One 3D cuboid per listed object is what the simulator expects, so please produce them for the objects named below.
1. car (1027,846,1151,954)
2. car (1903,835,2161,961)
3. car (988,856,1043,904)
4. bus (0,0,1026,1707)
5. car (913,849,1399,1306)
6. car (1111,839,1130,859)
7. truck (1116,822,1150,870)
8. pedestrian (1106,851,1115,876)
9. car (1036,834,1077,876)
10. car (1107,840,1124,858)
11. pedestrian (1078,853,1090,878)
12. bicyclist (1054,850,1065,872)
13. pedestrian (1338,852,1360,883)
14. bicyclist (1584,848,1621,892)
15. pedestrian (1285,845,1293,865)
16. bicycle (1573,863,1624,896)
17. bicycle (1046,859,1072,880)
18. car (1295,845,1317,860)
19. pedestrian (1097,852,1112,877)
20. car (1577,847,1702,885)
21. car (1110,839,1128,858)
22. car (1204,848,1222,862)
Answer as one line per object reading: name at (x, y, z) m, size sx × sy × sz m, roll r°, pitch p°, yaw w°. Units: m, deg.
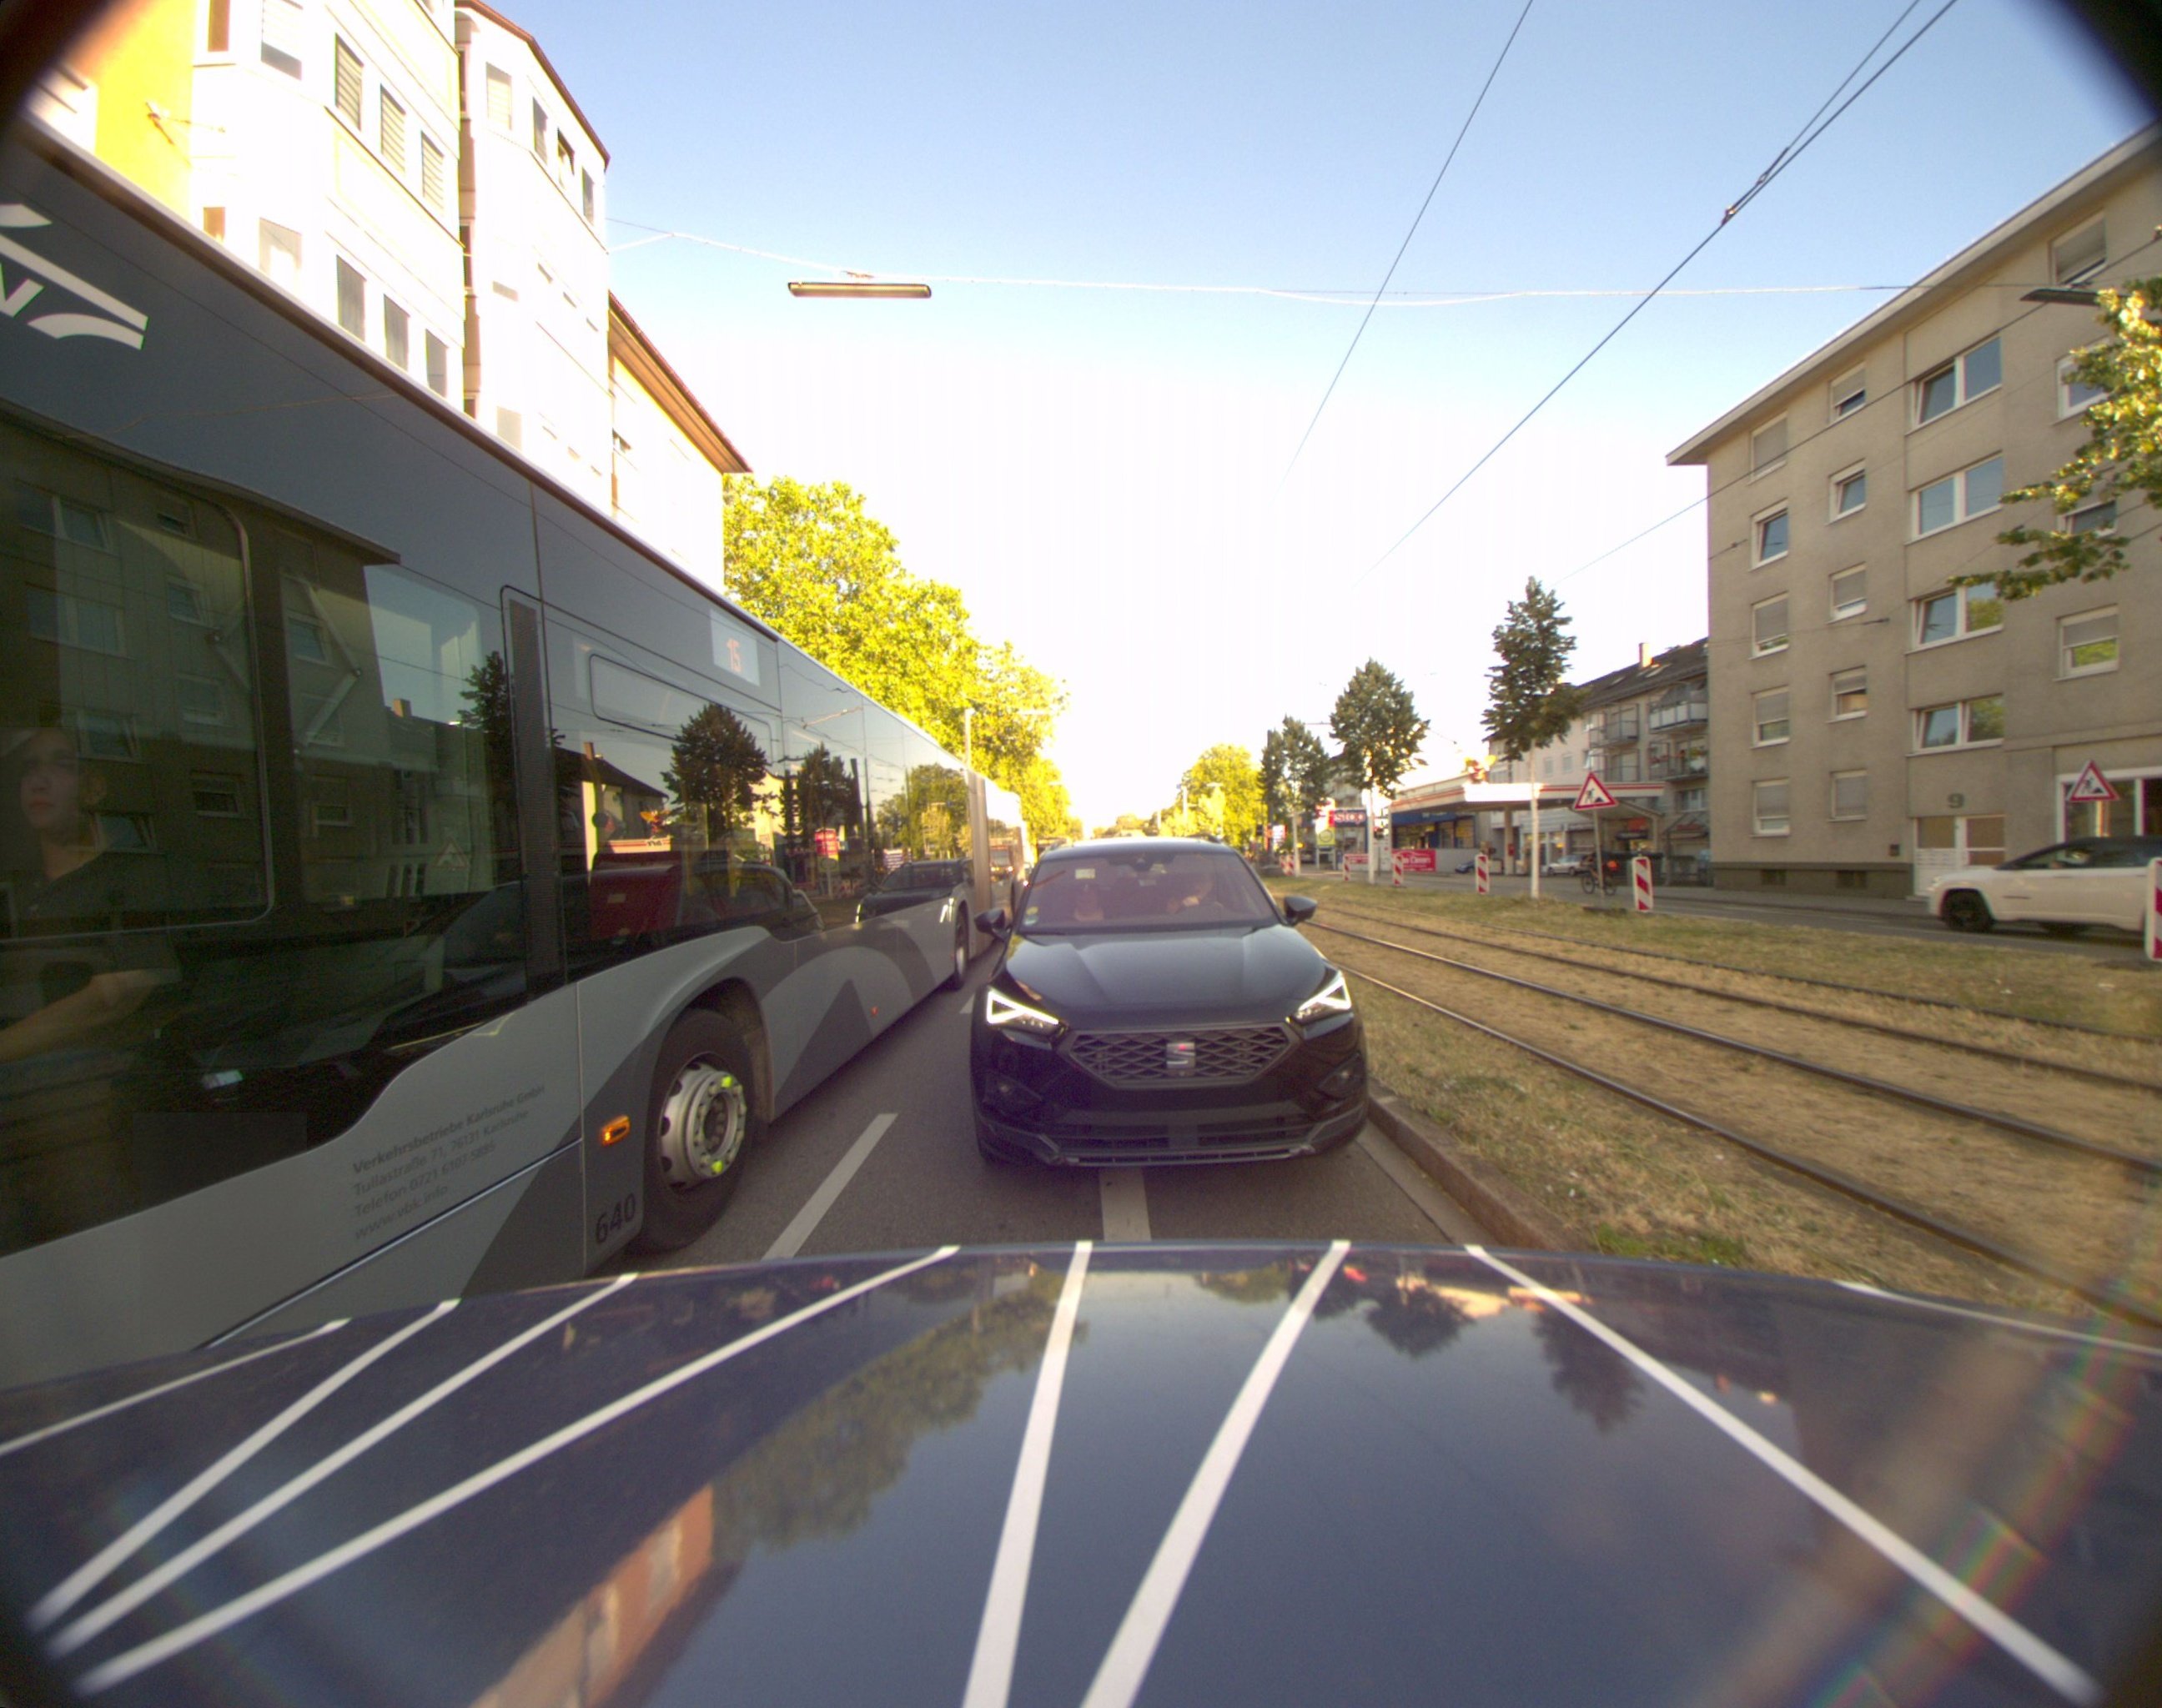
car at (0.164, 0.738, 14.341) m, size 1.998 × 1.739 × 4.000 m, roll -1°, pitch 0°, yaw 1°
car at (15.954, 0.614, 11.674) m, size 1.998 × 1.724 × 4.394 m, roll 1°, pitch 0°, yaw 4°
car at (-2.439, 0.932, 29.000) m, size 1.750 × 1.598 × 3.823 m, roll -2°, pitch 1°, yaw -1°
bus at (-2.826, 0.158, 9.145) m, size 2.773 × 3.131 × 17.740 m, roll -2°, pitch 0°, yaw 1°
car at (0.309, 0.841, 4.855) m, size 1.774 × 1.667 × 4.000 m, roll -2°, pitch 0°, yaw 1°
car at (4.072, -0.516, 78.527) m, size 1.767 × 2.002 × 3.791 m, roll -2°, pitch 1°, yaw 1°
truck at (4.322, -0.685, 64.415) m, size 2.306 × 3.798 × 7.723 m, roll -2°, pitch 1°, yaw 1°
pedestrian at (2.410, 0.780, 61.746) m, size 0.625 × 2.002 × 0.695 m, roll -2°, pitch 0°, yaw 0°
car at (-1.710, 0.034, 55.714) m, size 2.681 × 2.875 × 5.452 m, roll -2°, pitch 1°, yaw 0°
car at (4.000, -0.617, 87.882) m, size 1.767 × 2.002 × 3.791 m, roll -2°, pitch 1°, yaw 1°
pedestrian at (0.172, 0.719, 47.232) m, size 0.618 × 1.482 × 0.438 m, roll -2°, pitch 1°, yaw -13°
bicyclist at (-1.313, 0.437, 45.763) m, size 0.500 × 1.303 × 0.499 m, roll -3°, pitch 1°, yaw -17°
pedestrian at (11.014, 0.551, 31.215) m, size 0.664 × 1.263 × 0.581 m, roll -2°, pitch 0°, yaw 1°
bicyclist at (17.334, 0.524, 25.281) m, size 0.780 × 1.438 × 0.650 m, roll -1°, pitch 1°, yaw 0°
pedestrian at (20.837, 0.139, 76.241) m, size 0.632 × 2.002 × 0.583 m, roll 0°, pitch 1°, yaw 2°
bicycle at (17.318, 0.827, 25.466) m, size 0.447 × 1.038 × 1.860 m, roll -1°, pitch 0°, yaw 0°
bicycle at (-1.317, 0.913, 45.807) m, size 1.474 × 1.213 × 0.525 m, roll -2°, pitch 1°, yaw -17°
car at (25.108, -0.205, 84.820) m, size 1.781 × 1.547 × 4.002 m, roll -2°, pitch 1°, yaw 9°
pedestrian at (1.490, 0.692, 48.355) m, size 0.700 × 1.552 × 0.508 m, roll -3°, pitch 2°, yaw -40°
car at (22.817, 0.505, 31.146) m, size 3.727 × 1.460 × 1.908 m, roll 0°, pitch -1°, yaw 0°
car at (4.111, -0.574, 83.560) m, size 1.767 × 2.002 × 3.791 m, roll -2°, pitch 1°, yaw 1°
car at (17.046, 0.115, 98.361) m, size 1.723 × 1.601 × 3.828 m, roll -2°, pitch 1°, yaw 3°
